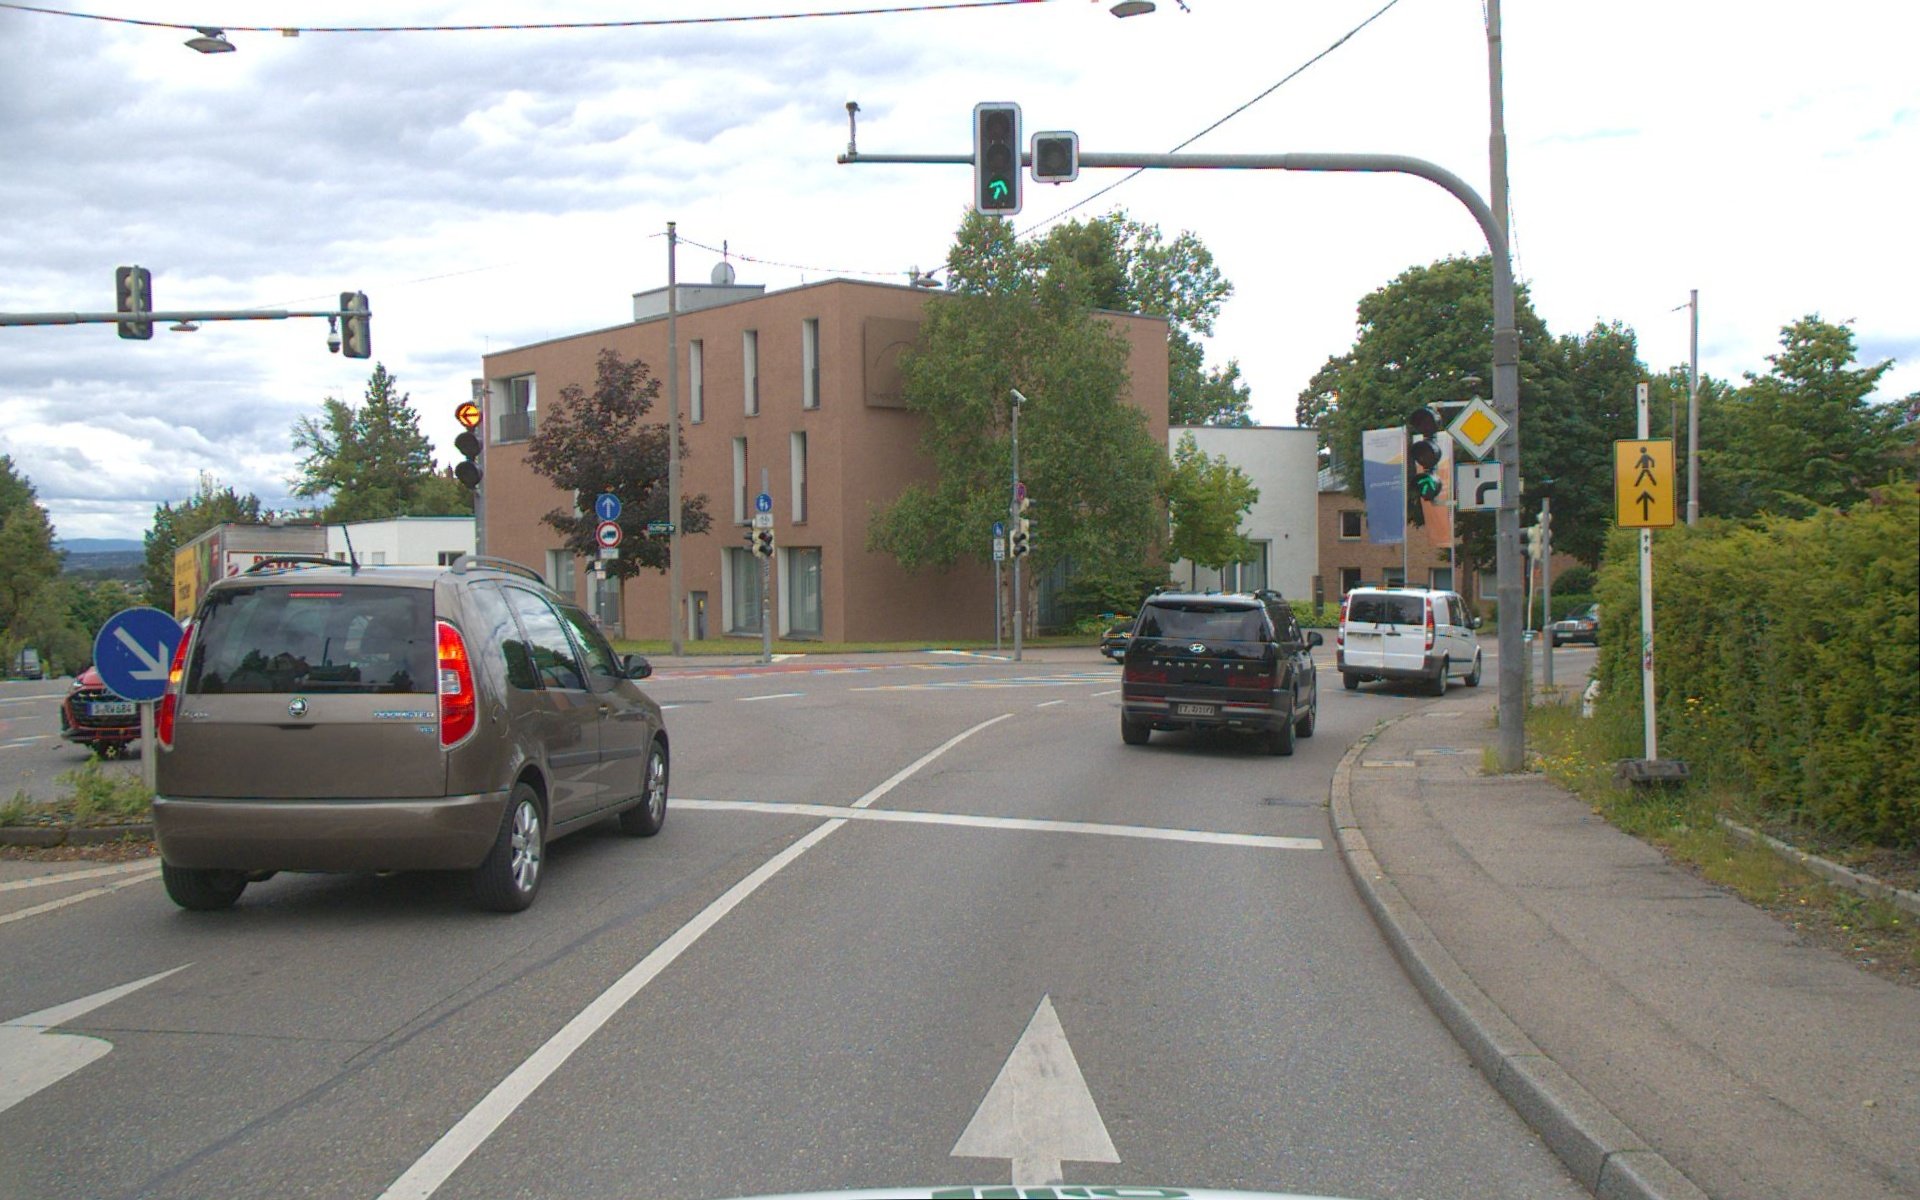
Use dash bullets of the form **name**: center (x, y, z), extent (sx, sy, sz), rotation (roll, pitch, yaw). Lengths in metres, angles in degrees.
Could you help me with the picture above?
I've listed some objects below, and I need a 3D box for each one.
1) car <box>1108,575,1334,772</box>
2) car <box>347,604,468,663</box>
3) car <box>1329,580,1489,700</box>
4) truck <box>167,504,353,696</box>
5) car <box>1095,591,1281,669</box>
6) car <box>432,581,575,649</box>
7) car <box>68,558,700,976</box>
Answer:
- **car**: center (3.110, 0.747, 19.015), extent (1.952, 1.914, 4.002), rotation (3, 1, 17)
- **car**: center (-21.027, 1.236, 62.993), extent (3.956, 2.049, 1.974), rotation (-2, 1, -36)
- **car**: center (8.621, 0.693, 31.499), extent (1.925, 2.048, 4.421), rotation (2, 1, 28)
- **truck**: center (-20.243, -0.027, 47.267), extent (3.095, 4.817, 11.665), rotation (-1, 0, -32)
- **car**: center (5.399, 0.661, 38.695), extent (1.965, 1.687, 4.755), rotation (0, 0, 42)
- **car**: center (-14.543, 0.466, 52.777), extent (3.956, 2.049, 1.975), rotation (-1, 0, -36)
- **car**: center (-2.758, 0.706, 8.994), extent (1.853, 1.736, 4.001), rotation (-1, 0, 3)
